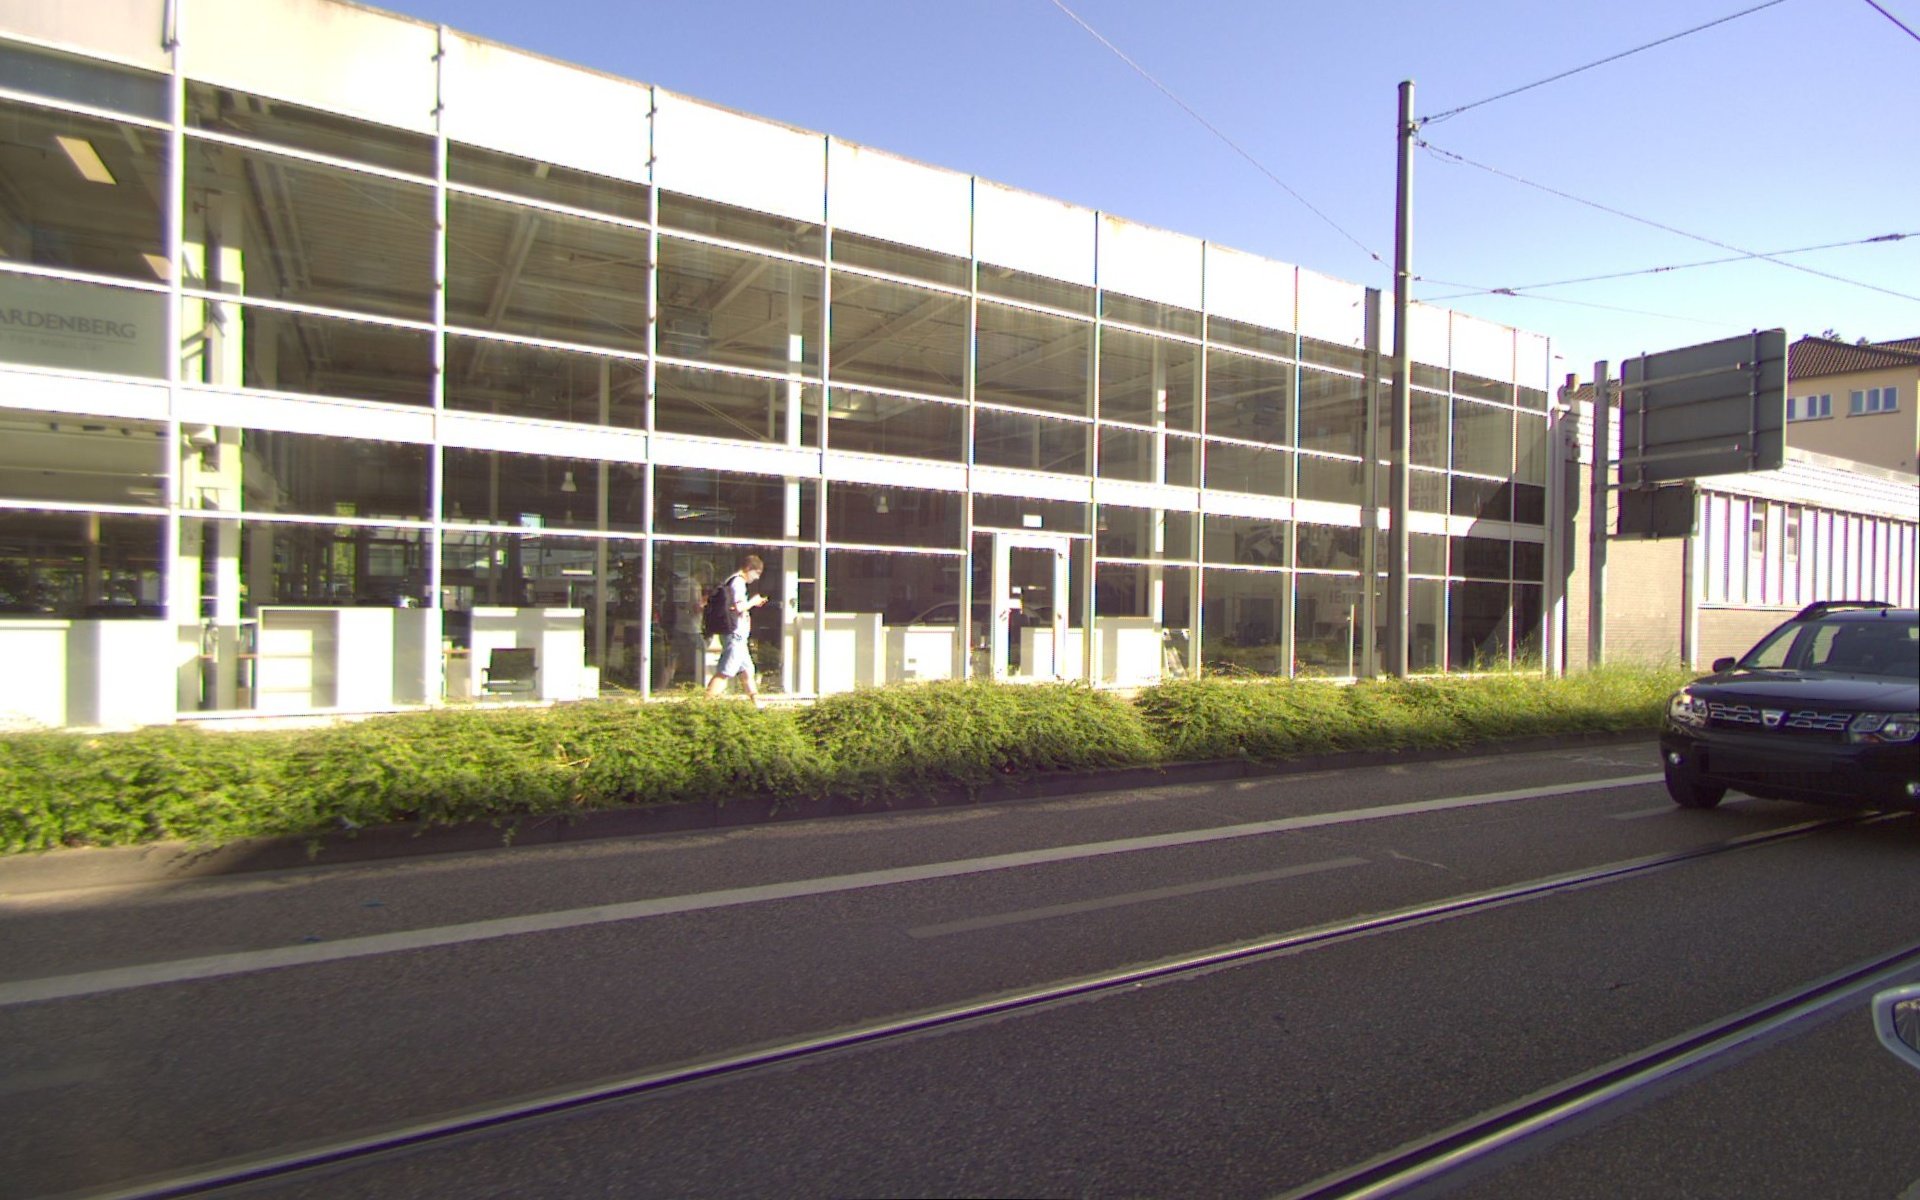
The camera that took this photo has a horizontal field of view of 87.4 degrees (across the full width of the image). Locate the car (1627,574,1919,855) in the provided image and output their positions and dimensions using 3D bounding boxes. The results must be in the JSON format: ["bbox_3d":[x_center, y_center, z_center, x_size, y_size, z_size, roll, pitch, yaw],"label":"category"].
[{"bbox_3d":[7.328,0.744,7.896,4.093,1.719,1.751,2,1,-29],"label":"car"}]

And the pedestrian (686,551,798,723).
[{"bbox_3d":[-2.374,0.390,10.933,1.039,1.788,0.524,2,1,-30],"label":"pedestrian"}]
